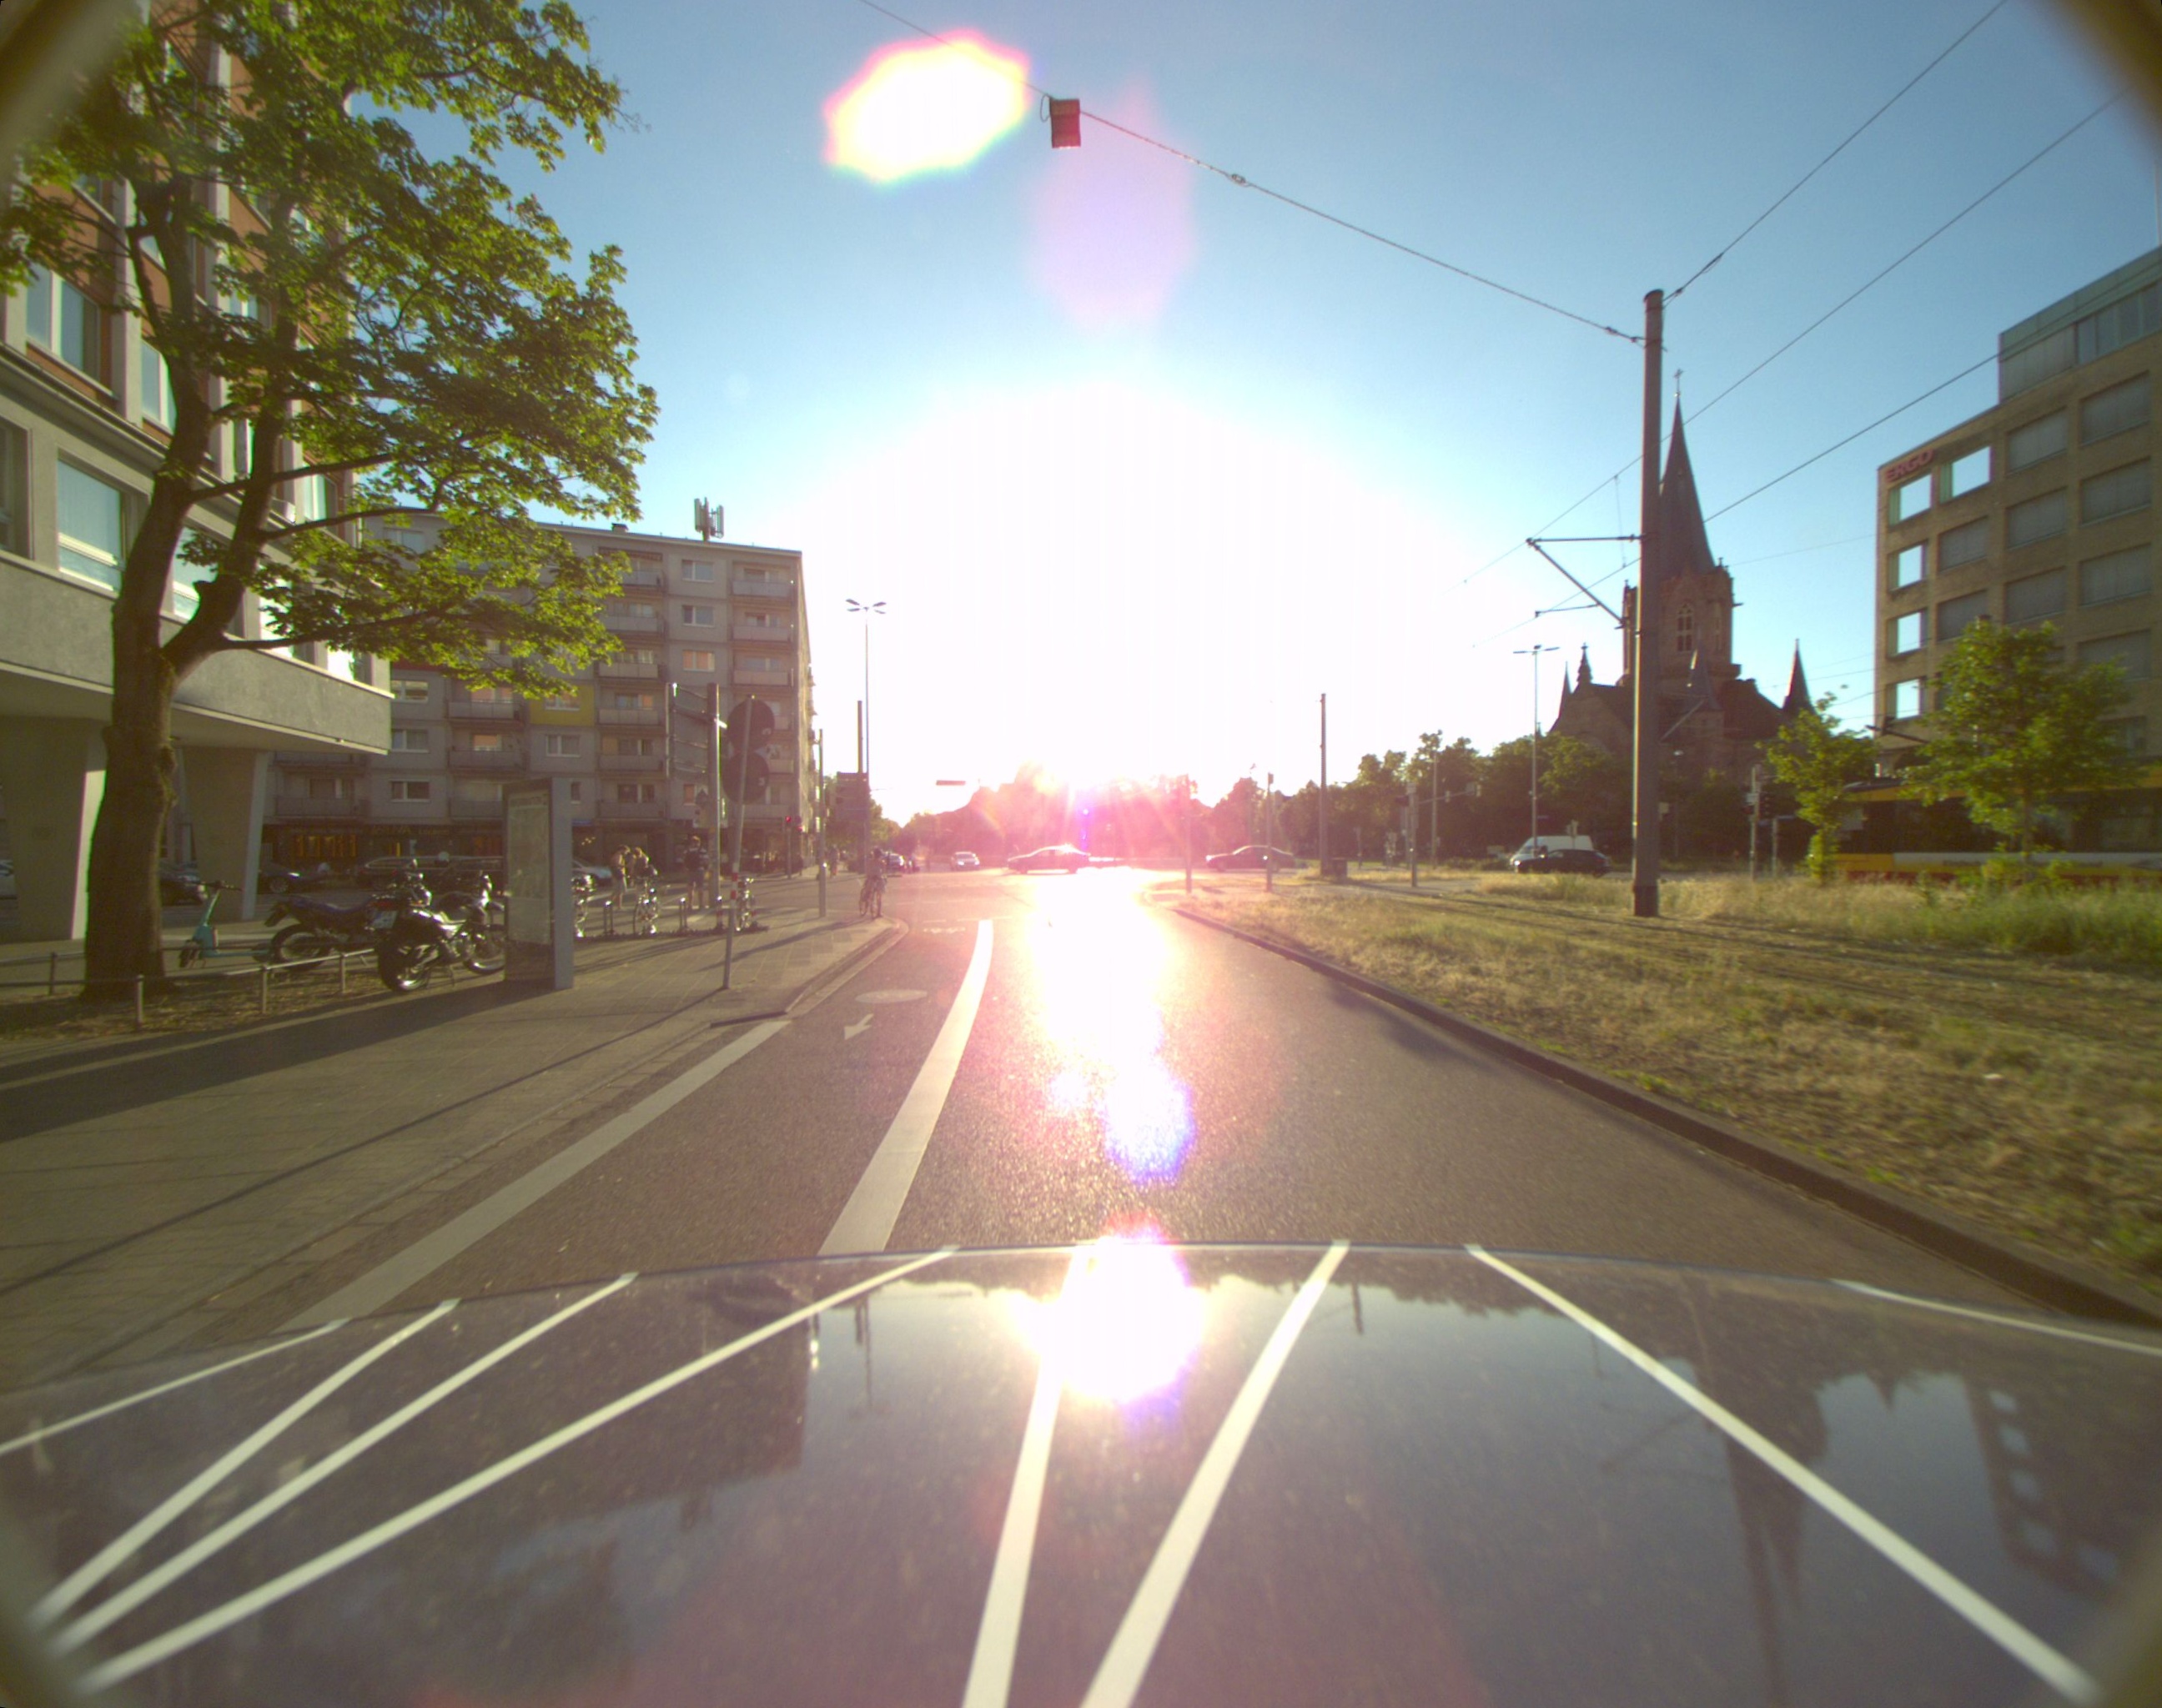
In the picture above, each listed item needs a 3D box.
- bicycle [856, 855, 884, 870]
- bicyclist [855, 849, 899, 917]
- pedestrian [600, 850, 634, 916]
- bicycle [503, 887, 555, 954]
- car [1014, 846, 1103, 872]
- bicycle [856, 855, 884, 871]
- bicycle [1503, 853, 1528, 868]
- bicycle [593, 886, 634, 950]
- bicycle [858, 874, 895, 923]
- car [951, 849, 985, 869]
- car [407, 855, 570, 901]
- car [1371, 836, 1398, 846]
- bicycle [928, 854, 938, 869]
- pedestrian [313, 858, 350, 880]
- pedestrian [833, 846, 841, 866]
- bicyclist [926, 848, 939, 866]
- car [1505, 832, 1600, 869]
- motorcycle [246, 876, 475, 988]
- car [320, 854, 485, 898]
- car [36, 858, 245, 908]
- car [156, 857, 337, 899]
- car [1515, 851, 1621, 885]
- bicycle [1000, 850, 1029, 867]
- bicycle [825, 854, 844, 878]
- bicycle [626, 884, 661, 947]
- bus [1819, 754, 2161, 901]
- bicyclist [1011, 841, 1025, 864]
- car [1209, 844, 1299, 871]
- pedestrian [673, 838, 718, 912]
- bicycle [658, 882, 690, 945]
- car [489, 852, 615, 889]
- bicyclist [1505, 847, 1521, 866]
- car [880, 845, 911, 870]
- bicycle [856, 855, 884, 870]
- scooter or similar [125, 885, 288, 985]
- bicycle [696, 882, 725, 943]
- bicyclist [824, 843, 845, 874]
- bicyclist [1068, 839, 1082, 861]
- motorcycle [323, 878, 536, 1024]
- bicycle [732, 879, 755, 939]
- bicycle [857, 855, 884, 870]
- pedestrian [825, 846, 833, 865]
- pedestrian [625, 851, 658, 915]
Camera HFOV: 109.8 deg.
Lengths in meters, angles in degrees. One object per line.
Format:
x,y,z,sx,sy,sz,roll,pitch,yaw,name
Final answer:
-15.766,0.641,56.789,1.959,1.114,0.458,-2,1,-15,bicycle
-4.665,0.641,17.337,0.799,1.472,0.805,-2,1,-25,bicyclist
-12.127,0.732,19.874,0.518,1.683,0.771,0,1,-14,pedestrian
-9.618,1.130,13.285,0.365,1.021,1.791,-2,1,-25,bicycle
-1.364,0.253,44.384,5.041,1.428,1.877,0,2,-6,car
-15.640,0.633,56.251,1.959,1.114,0.458,-2,1,-15,bicycle
35.992,0.515,62.967,1.972,1.175,0.490,-2,1,-14,bicycle
-8.454,1.121,13.785,0.361,1.021,1.791,-2,1,-24,bicycle
-4.723,0.997,17.469,0.516,1.021,1.791,-2,1,-25,bicycle
-9.076,0.409,60.913,1.958,1.485,3.952,-2,0,-20,car
-21.321,0.819,27.544,4.193,1.418,1.928,-1,3,-18,car
56.494,-2.362,141.495,4.120,1.811,2.004,-1,1,45,car
-12.711,0.634,65.058,0.576,1.193,2.202,-2,1,-17,bicycle
-40.274,0.792,40.829,1.046,1.160,0.905,-1,1,8,pedestrian
-25.590,0.197,79.645,0.656,2.000,0.751,3,-5,-17,pedestrian
-12.729,0.232,65.104,0.997,1.529,0.921,-2,1,-18,bicyclist
37.906,-0.311,61.112,7.207,2.861,2.305,-1,0,-17,car
-9.694,1.011,10.332,2.150,1.346,0.642,-2,1,-19,motorcycle
-25.975,0.807,29.273,4.244,1.460,1.998,-2,1,-12,car
-30.306,0.893,24.642,3.926,1.443,1.802,-1,1,-14,car
-32.841,0.897,30.057,4.542,1.486,1.703,-1,1,-17,car
23.822,0.681,37.257,2.004,1.533,3.989,-2,1,-43,car
-4.647,0.308,53.155,1.973,1.175,0.490,-2,1,-17,bicycle
-12.726,0.591,39.273,0.490,1.175,1.970,-2,1,-5,bicycle
-8.060,1.097,14.028,0.369,1.021,1.791,-2,1,-25,bicycle
26.973,-0.660,18.788,3.764,3.435,12.112,-2,0,-19,bus
-4.406,-0.097,53.227,0.734,1.559,0.822,-2,1,-17,bicyclist
10.127,0.167,44.722,5.018,1.499,1.726,1,1,11,car
-10.352,0.543,20.396,0.700,1.946,0.850,1,1,42,pedestrian
-7.561,1.072,14.162,0.361,1.021,1.791,-2,1,-24,bicycle
-23.023,0.699,33.227,4.013,1.460,1.917,-2,1,-12,car
35.778,0.238,62.898,0.734,1.559,0.822,-2,1,-13,bicyclist
-16.241,0.306,66.399,2.002,2.002,3.993,-2,1,-22,car
-15.909,0.629,57.302,1.959,1.114,0.458,-2,1,-15,bicycle
-12.375,1.107,10.824,0.309,1.256,1.527,-1,1,12,scooter or similar
-7.009,1.077,14.407,0.361,1.021,1.791,-2,1,-22,bicycle
-12.699,0.250,39.145,0.823,1.559,0.733,-2,1,-3,bicyclist
-0.421,-0.286,53.119,0.734,1.559,0.822,-2,1,-13,bicyclist
-7.206,0.990,8.589,0.643,1.336,2.201,-2,1,-6,motorcycle
-6.469,1.023,14.574,0.361,1.021,1.791,-2,1,-24,bicycle
-16.031,0.626,57.832,1.959,1.114,0.458,-2,1,-15,bicycle
-26.398,0.159,79.526,0.718,2.002,0.645,-1,1,-17,pedestrian
-11.575,0.755,20.030,0.518,1.635,0.706,-1,1,-14,pedestrian
